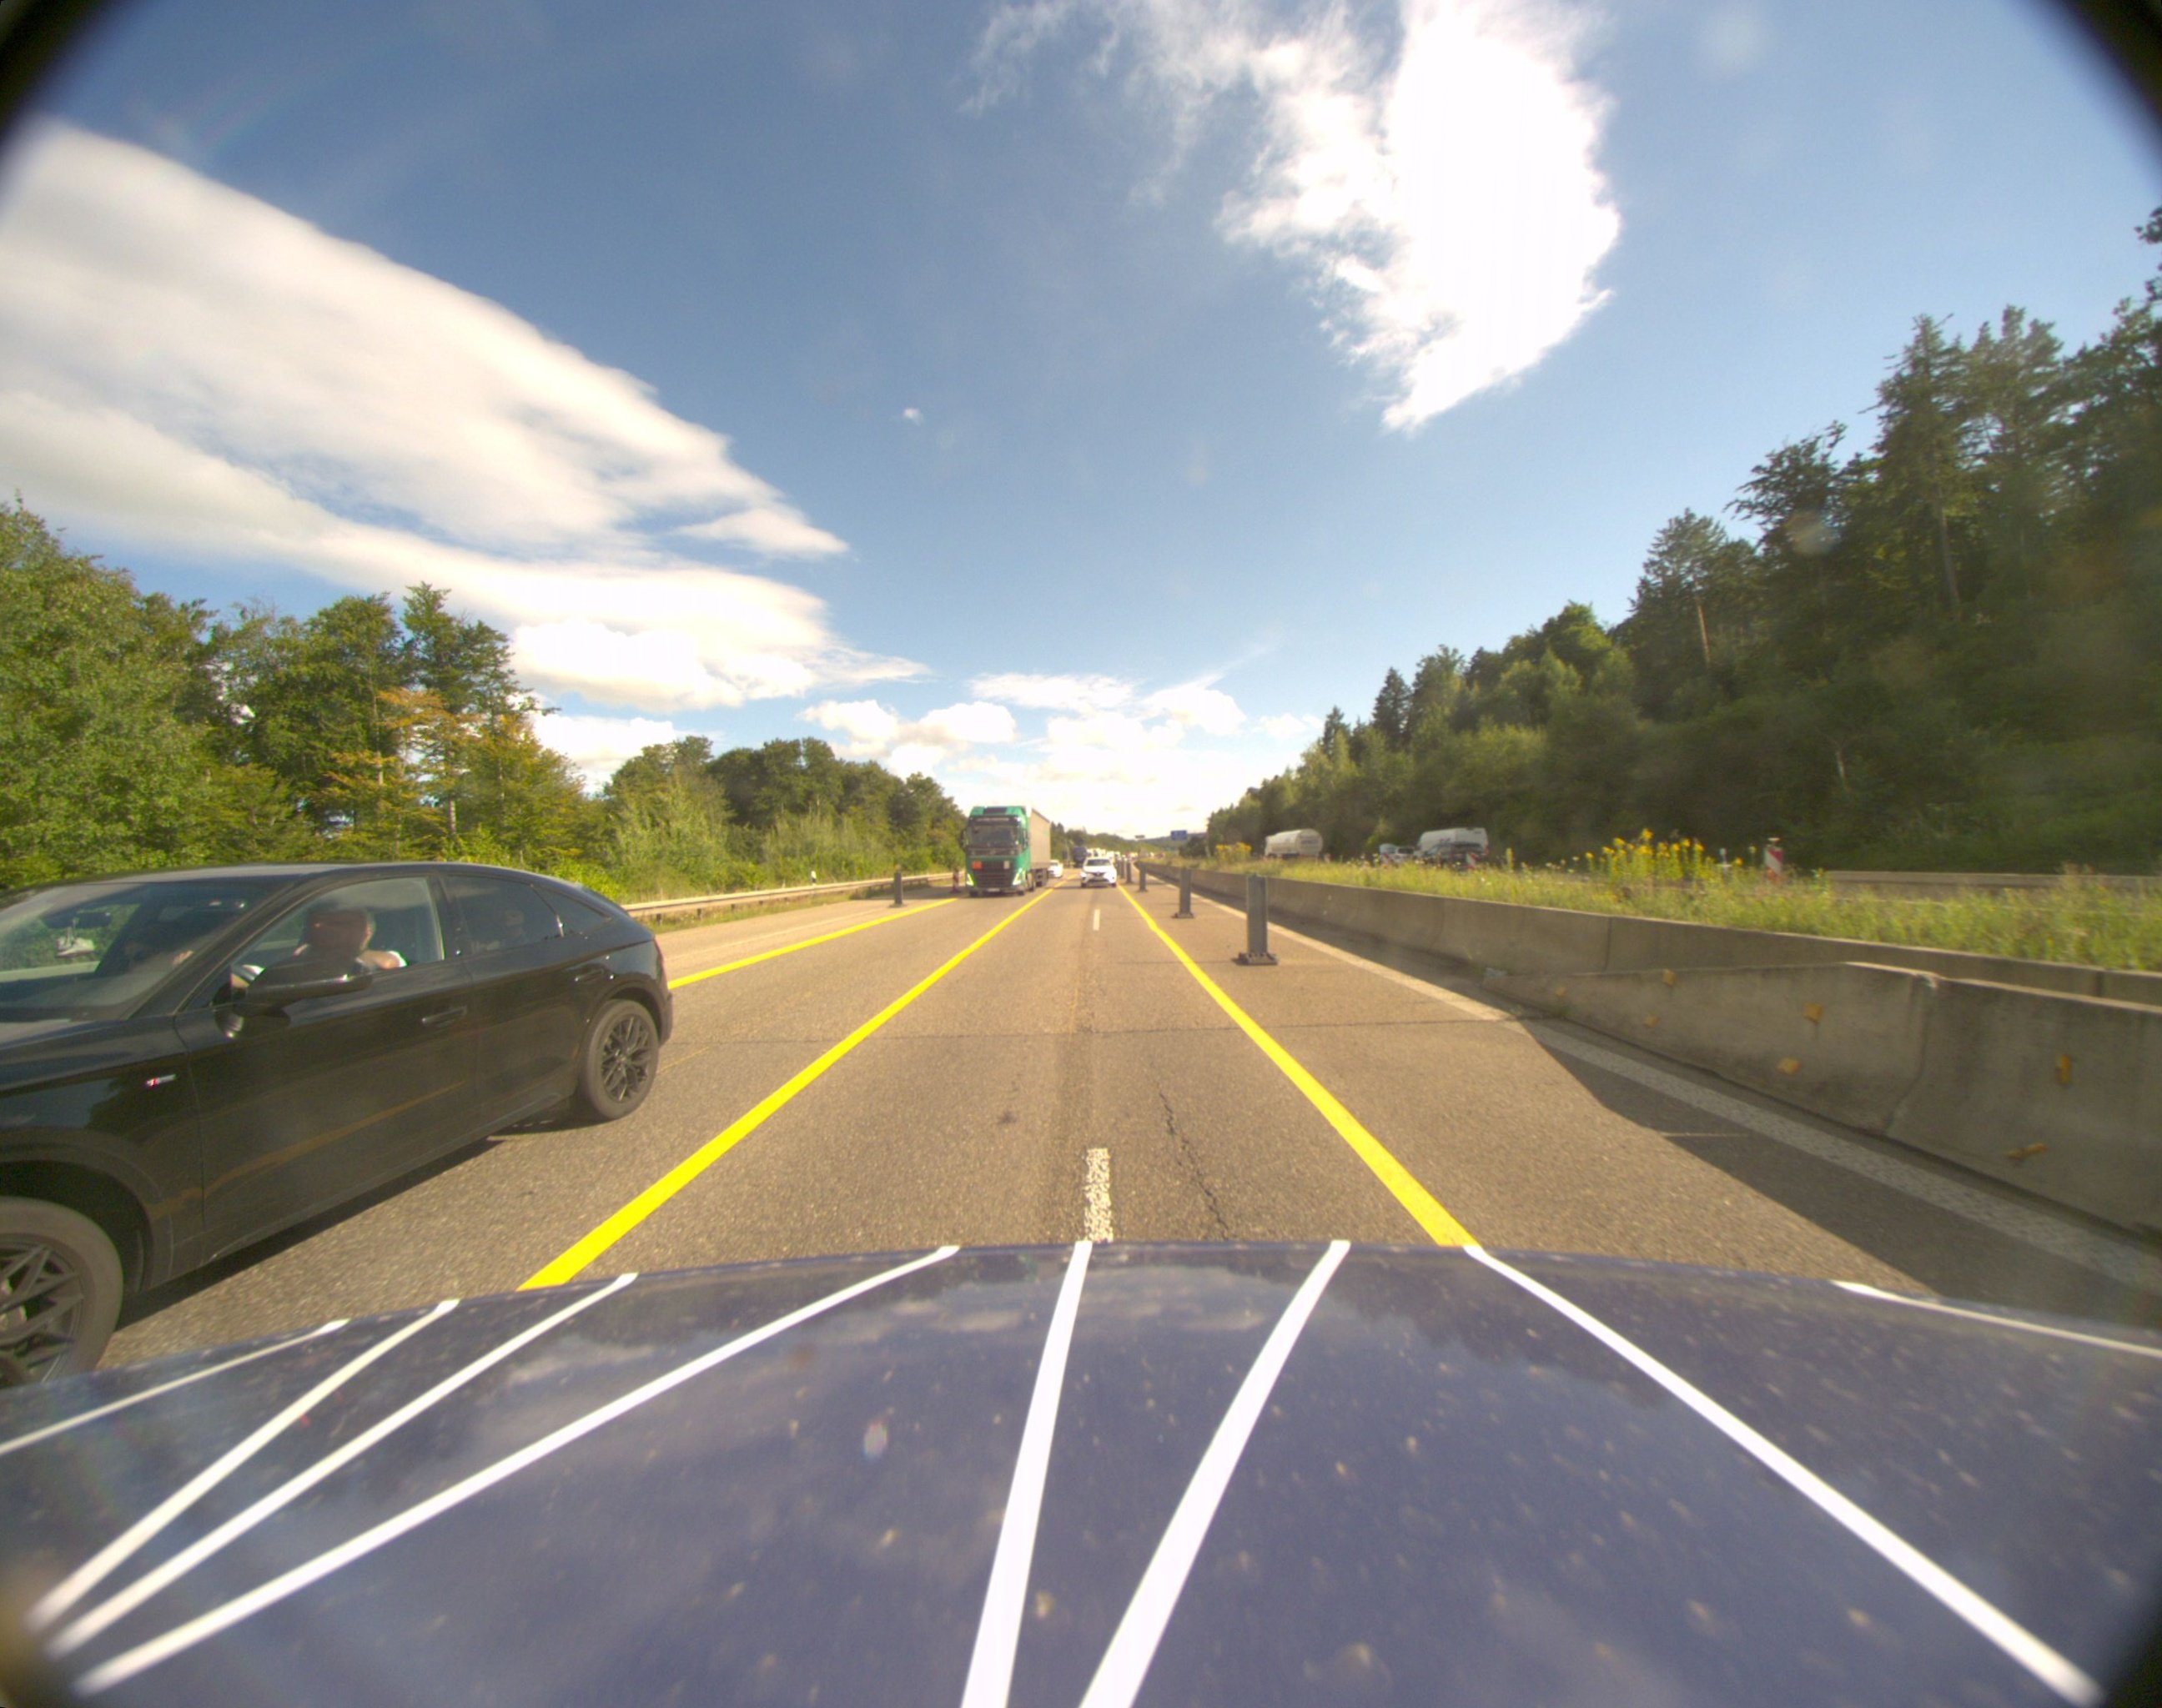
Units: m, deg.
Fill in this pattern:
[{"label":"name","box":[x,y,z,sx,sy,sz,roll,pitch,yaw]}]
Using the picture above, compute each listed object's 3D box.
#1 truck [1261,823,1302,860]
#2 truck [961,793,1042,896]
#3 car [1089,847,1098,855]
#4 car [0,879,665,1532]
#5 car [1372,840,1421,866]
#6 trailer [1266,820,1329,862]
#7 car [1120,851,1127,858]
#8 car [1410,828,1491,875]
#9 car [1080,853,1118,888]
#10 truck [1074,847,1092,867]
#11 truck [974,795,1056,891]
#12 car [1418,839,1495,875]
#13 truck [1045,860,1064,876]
[{"label":"truck","box":[19.723,-1.216,75.014,2.791,3.469,4.939,-2,1,2]},{"label":"truck","box":[-3.411,-0.408,34.342,2.527,4.075,6.857,-2,1,2]},{"label":"car","box":[2.661,-0.647,163.226,1.750,1.787,4.000,-2,0,2]},{"label":"car","box":[-3.749,1.012,2.973,1.782,1.593,4.293,-2,0,1]},{"label":"car","box":[23.900,-0.088,57.683,1.865,1.843,4.762,-2,0,2]},{"label":"trailer","box":[19.521,-1.139,69.405,2.808,3.469,11.113,-2,0,2]},{"label":"car","box":[12.283,0.172,220.763,1.998,2.002,4.001,-2,1,4]},{"label":"car","box":[22.913,-0.187,47.495,2.033,2.669,6.523,-2,0,2]},{"label":"car","box":[0.953,0.819,38.994,1.782,1.593,4.018,-2,0,2]},{"label":"truck","box":[0.408,0.461,131.570,2.576,3.167,6.804,-2,1,5]},{"label":"truck","box":[-3.141,-0.449,40.639,2.470,4.119,14.213,-2,0,2]},{"label":"car","box":[17.812,0.120,36.280,1.782,1.593,4.018,-2,0,2]},{"label":"truck","box":[-2.183,1.133,62.631,1.468,1.215,3.087,-2,0,0]}]
